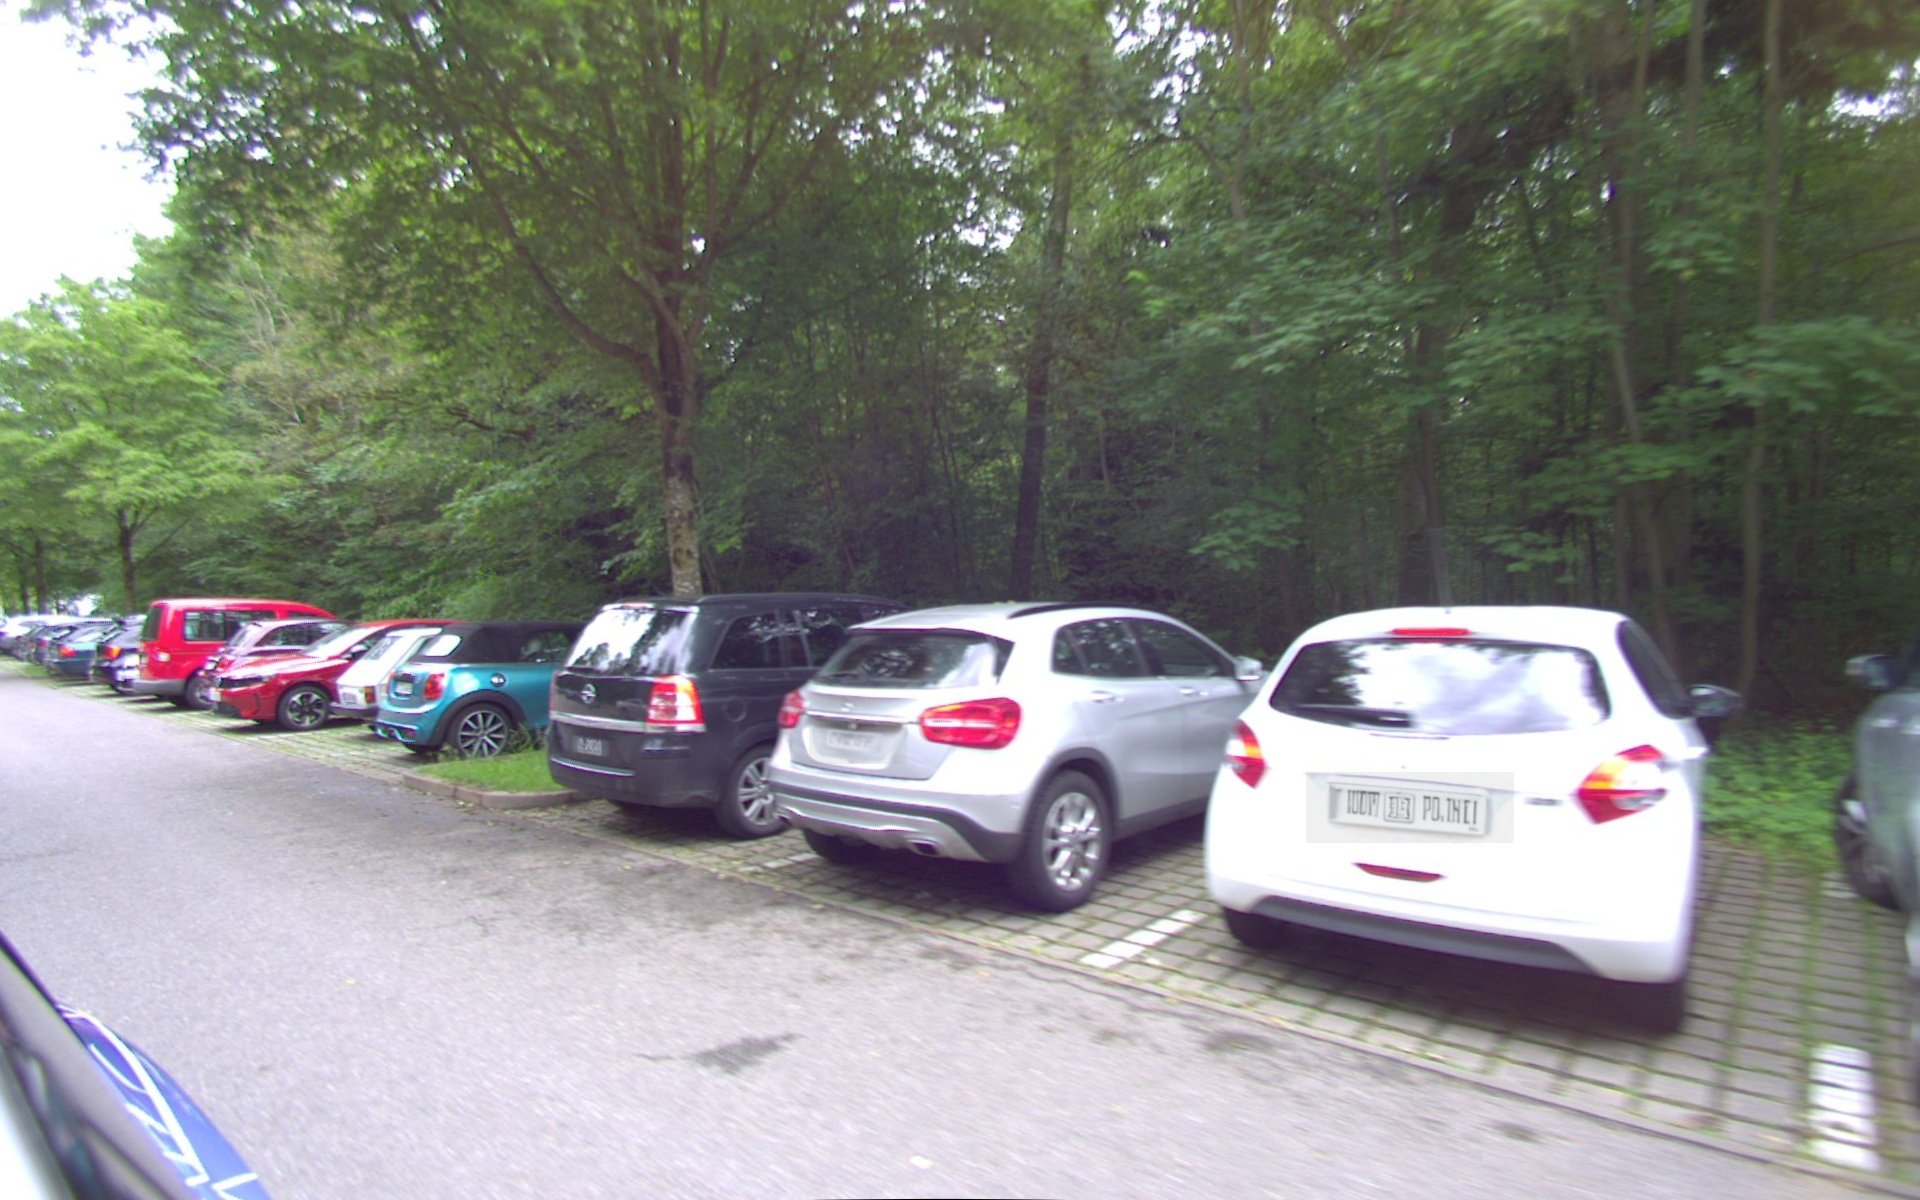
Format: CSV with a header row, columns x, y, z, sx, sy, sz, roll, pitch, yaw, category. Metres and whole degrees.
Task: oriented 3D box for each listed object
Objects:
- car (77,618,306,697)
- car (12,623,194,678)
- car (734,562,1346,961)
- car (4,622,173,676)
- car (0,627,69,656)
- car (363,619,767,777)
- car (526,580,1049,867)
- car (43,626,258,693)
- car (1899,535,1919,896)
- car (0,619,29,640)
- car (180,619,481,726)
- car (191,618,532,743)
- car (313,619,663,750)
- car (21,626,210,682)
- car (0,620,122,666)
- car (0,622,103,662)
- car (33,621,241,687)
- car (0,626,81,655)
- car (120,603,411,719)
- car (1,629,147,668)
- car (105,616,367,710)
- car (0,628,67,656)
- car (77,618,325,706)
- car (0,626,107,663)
x,y,z,sx,sy,sz,roll,pitch,yaw,category
-17.592,1.250,23.306,1.740,1.609,3.945,-2,-1,41,car
-26.805,1.522,31.750,1.817,1.549,4.167,-2,-1,41,car
0.757,0.718,6.354,1.814,1.675,3.944,-2,-2,42,car
-28.628,1.562,33.359,1.710,1.528,3.951,-1,0,36,car
-50.398,2.196,54.078,1.711,1.489,3.948,-2,-2,38,car
-4.328,0.962,11.517,1.696,1.459,3.942,-2,-2,44,car
-1.116,0.761,8.009,1.695,1.675,3.947,-2,-2,40,car
-19.744,1.401,24.788,1.742,1.432,3.942,-2,-1,44,car
4.302,0.535,3.109,1.813,1.675,3.947,-2,-1,40,car
-69.288,2.147,72.192,3.932,1.431,1.787,-1,0,-32,car
-10.433,1.114,16.972,1.817,1.527,3.945,-2,-1,41,car
-8.571,1.049,14.741,1.770,1.527,3.945,-2,-1,41,car
-6.246,1.016,13.726,1.770,1.459,3.945,-2,-1,41,car
-24.950,1.533,29.989,4.163,1.467,1.819,0,-1,-45,car
-36.026,1.668,40.190,1.711,1.740,3.948,-2,-2,38,car
-41.410,1.876,45.627,1.711,1.722,3.948,-2,-2,38,car
-21.397,1.355,26.440,1.739,1.453,3.948,-1,0,39,car
-48.562,2.095,52.723,1.711,1.489,3.948,-2,-2,38,car
-12.200,0.983,17.967,1.817,1.828,3.945,-2,-1,41,car
-33.842,1.811,38.754,1.710,1.381,3.951,-1,-2,36,car
-14.091,1.151,19.854,1.742,1.609,3.943,-2,-1,43,car
-51.730,2.276,55.469,1.711,1.489,3.948,-2,-2,38,car
-15.852,1.222,21.277,1.742,1.609,3.943,-2,-1,43,car
-39.577,1.888,43.669,1.711,1.500,3.948,-2,-2,38,car
